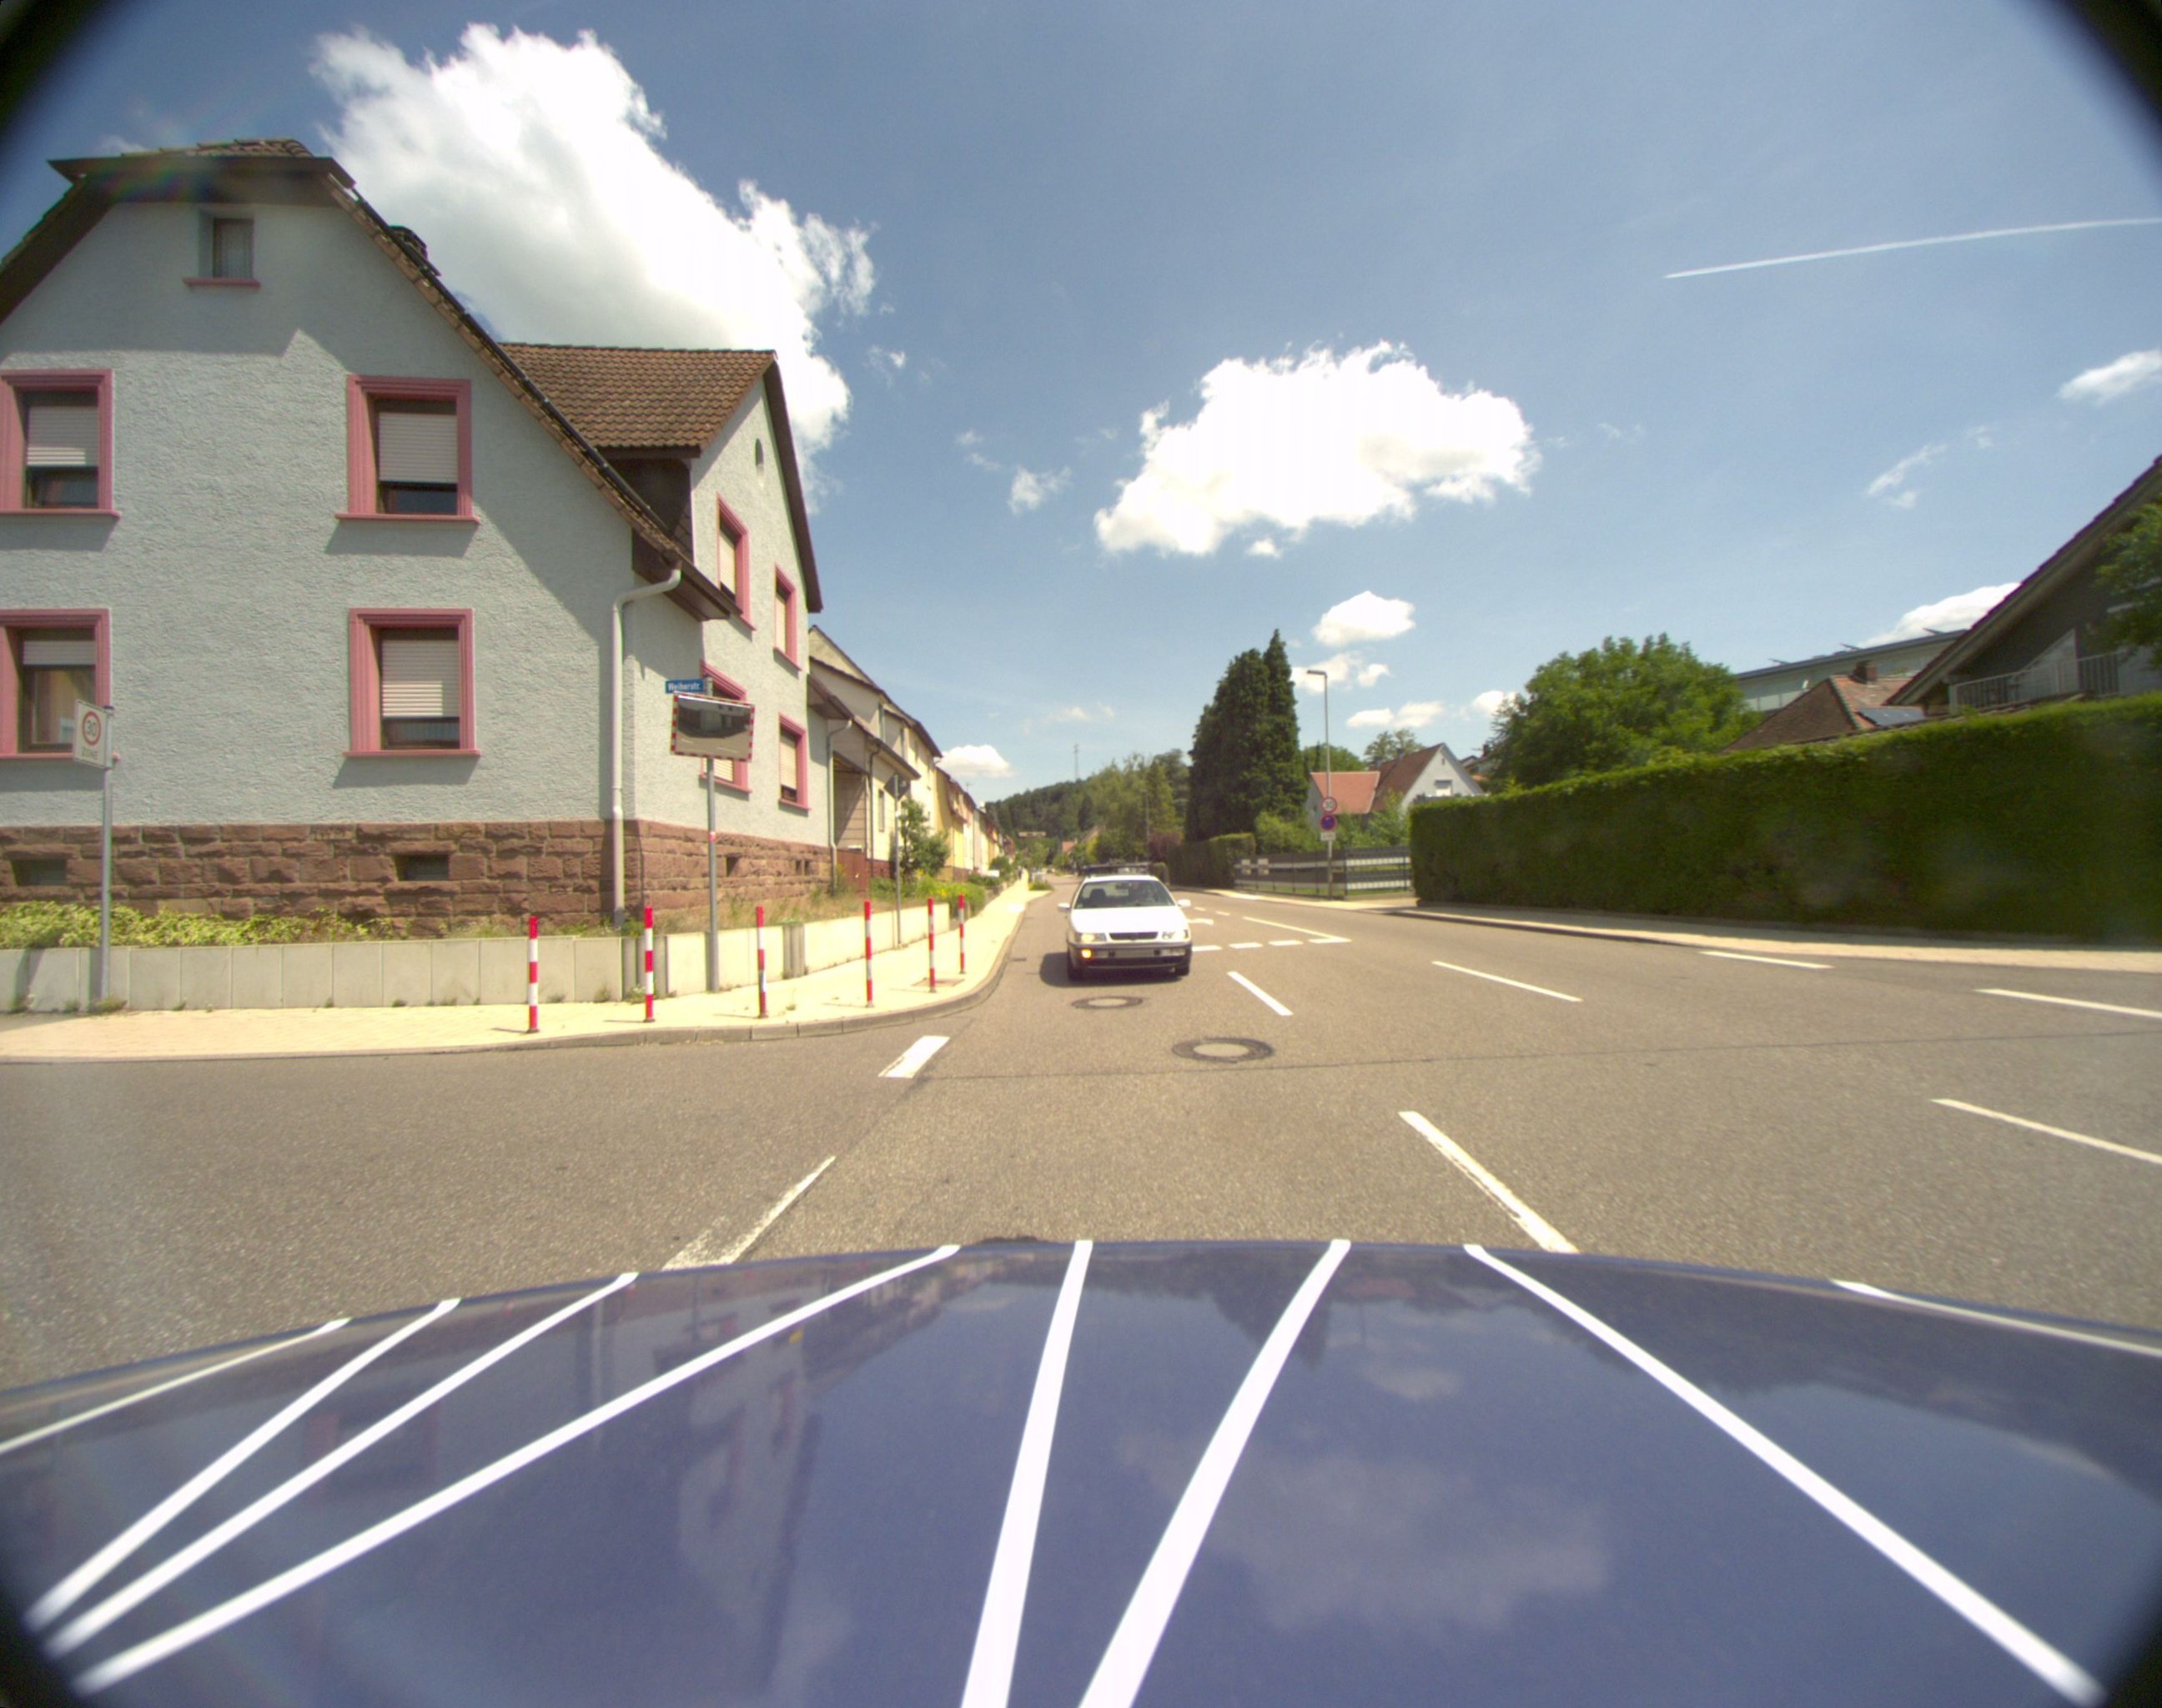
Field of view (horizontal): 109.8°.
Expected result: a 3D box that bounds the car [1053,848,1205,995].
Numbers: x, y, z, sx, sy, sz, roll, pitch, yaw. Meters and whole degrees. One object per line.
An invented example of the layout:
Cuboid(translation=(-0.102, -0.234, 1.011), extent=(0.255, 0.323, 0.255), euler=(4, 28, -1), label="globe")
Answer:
Cuboid(translation=(0.564, 0.849, 11.381), extent=(1.680, 1.633, 4.833), euler=(-4, -1, 0), label="car")
